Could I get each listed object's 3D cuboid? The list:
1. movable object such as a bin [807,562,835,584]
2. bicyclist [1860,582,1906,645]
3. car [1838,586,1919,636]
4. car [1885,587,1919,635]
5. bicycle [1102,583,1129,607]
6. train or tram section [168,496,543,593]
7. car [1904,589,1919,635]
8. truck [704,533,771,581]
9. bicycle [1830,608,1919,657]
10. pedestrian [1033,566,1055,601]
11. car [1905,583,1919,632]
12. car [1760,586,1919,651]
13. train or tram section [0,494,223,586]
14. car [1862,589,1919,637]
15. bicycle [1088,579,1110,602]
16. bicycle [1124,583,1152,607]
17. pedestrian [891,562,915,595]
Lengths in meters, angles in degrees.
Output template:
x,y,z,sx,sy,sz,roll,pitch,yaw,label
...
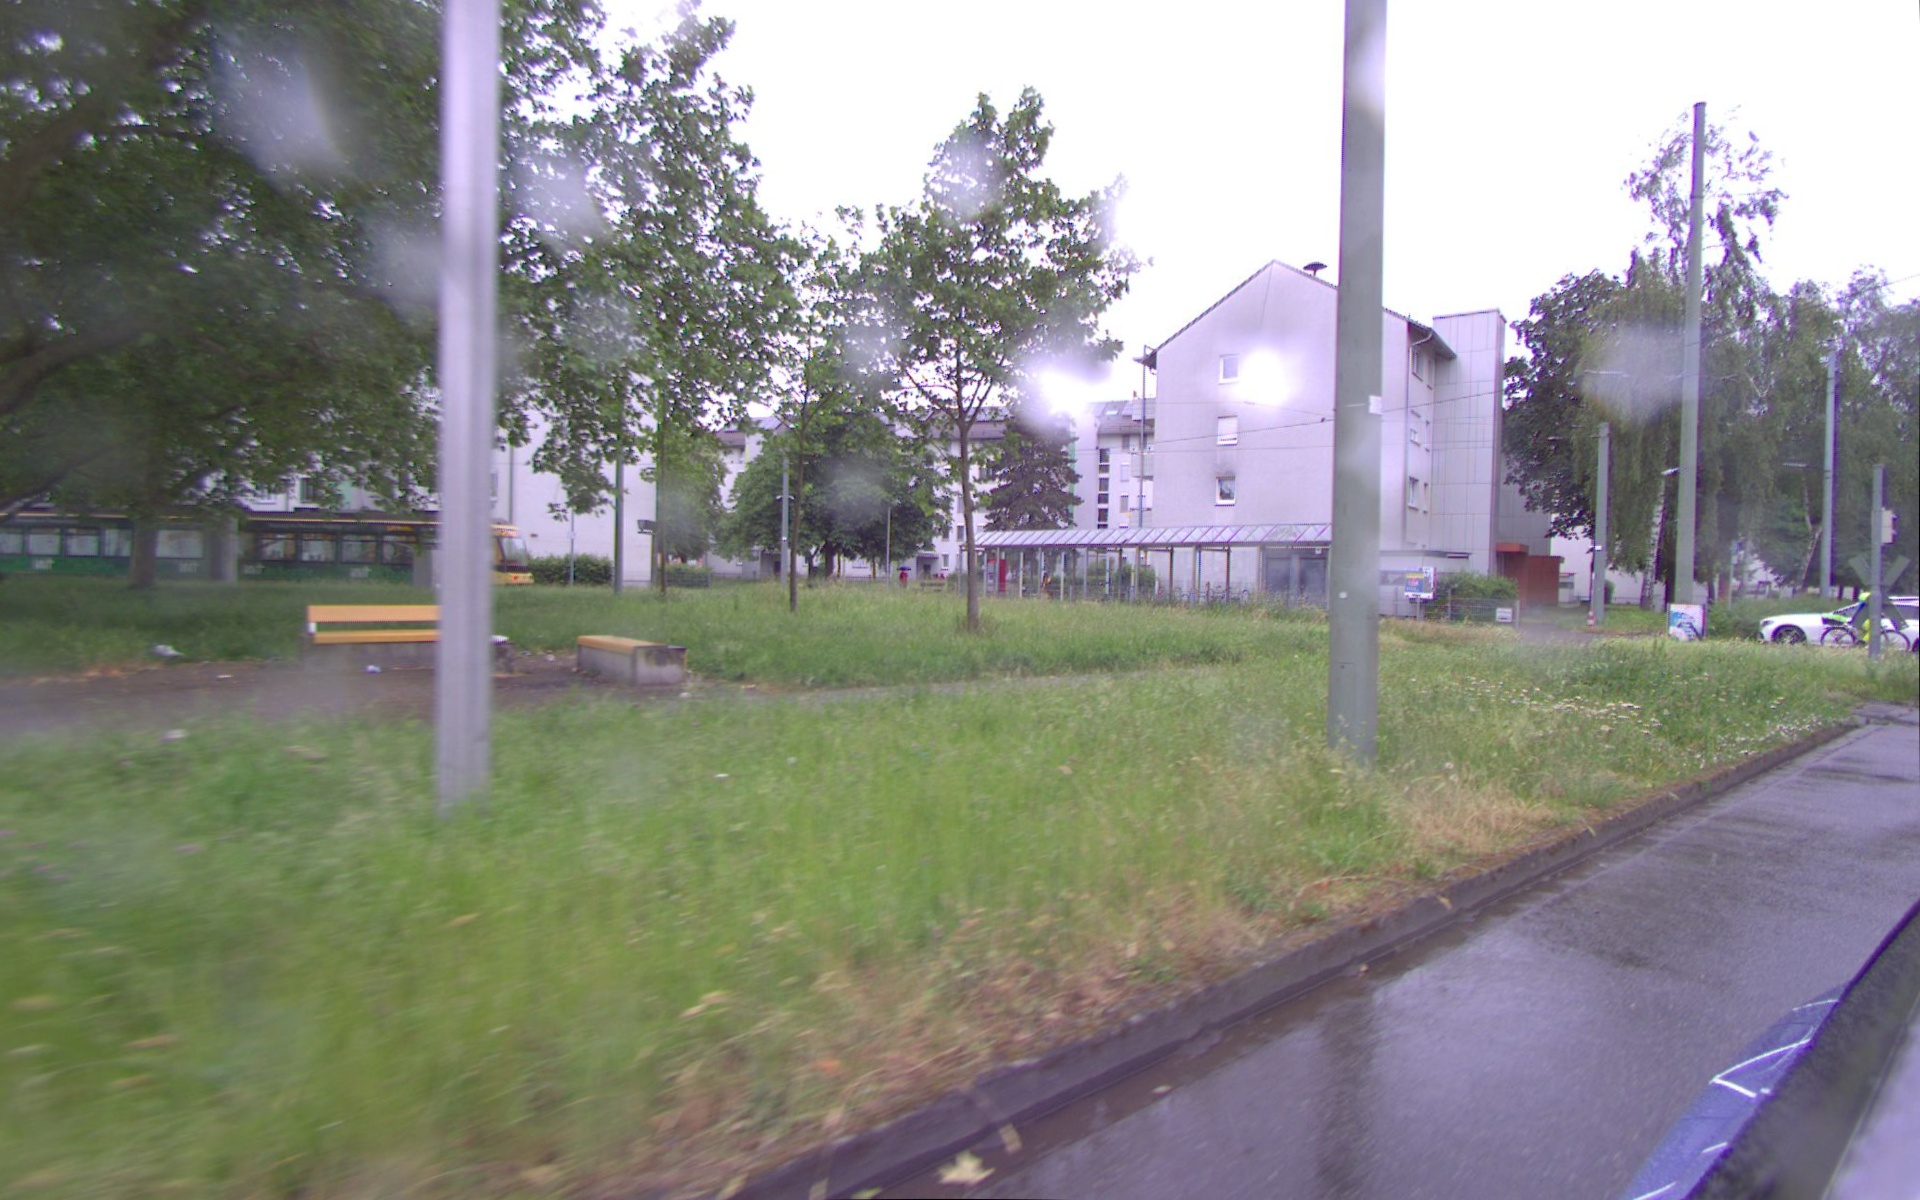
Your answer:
x,y,z,sx,sy,sz,roll,pitch,yaw,label
-13.597,-2.614,98.883,1.883,2.039,2.219,0,0,24,movable object such as a bin
23.083,0.339,25.322,0.693,1.536,0.717,1,0,31,bicyclist
29.539,0.335,30.807,1.692,1.505,3.996,0,0,-39,car
38.920,0.426,39.157,1.692,1.869,4.441,0,0,-39,car
6.394,-0.201,41.568,1.215,0.959,0.377,0,0,-37,bicycle
-24.909,-2.276,41.900,14.477,3.635,2.711,1,0,5,train or tram section
40.789,0.471,40.342,1.692,1.869,4.441,0,0,-39,car
-17.615,-3.298,79.605,3.138,3.517,7.155,0,0,-30,truck
23.028,0.798,25.344,1.740,1.144,0.720,2,0,32,bicycle
3.802,-0.742,45.611,0.776,1.592,0.635,0,-1,-41,pedestrian
42.747,0.304,42.444,1.694,2.088,4.435,0,0,-43,car
24.790,0.515,27.172,1.964,1.475,4.840,1,3,-39,car
-39.321,-2.591,43.246,14.477,3.635,2.711,1,0,5,train or tram section
33.323,0.445,34.206,1.692,1.606,3.996,0,0,-39,car
5.824,-0.394,42.342,0.415,0.959,1.292,0,0,34,bicycle
7.138,-0.200,40.541,1.215,0.959,0.377,0,0,-37,bicycle
-3.256,-1.214,57.819,1.165,1.907,1.056,0,0,-12,pedestrian
